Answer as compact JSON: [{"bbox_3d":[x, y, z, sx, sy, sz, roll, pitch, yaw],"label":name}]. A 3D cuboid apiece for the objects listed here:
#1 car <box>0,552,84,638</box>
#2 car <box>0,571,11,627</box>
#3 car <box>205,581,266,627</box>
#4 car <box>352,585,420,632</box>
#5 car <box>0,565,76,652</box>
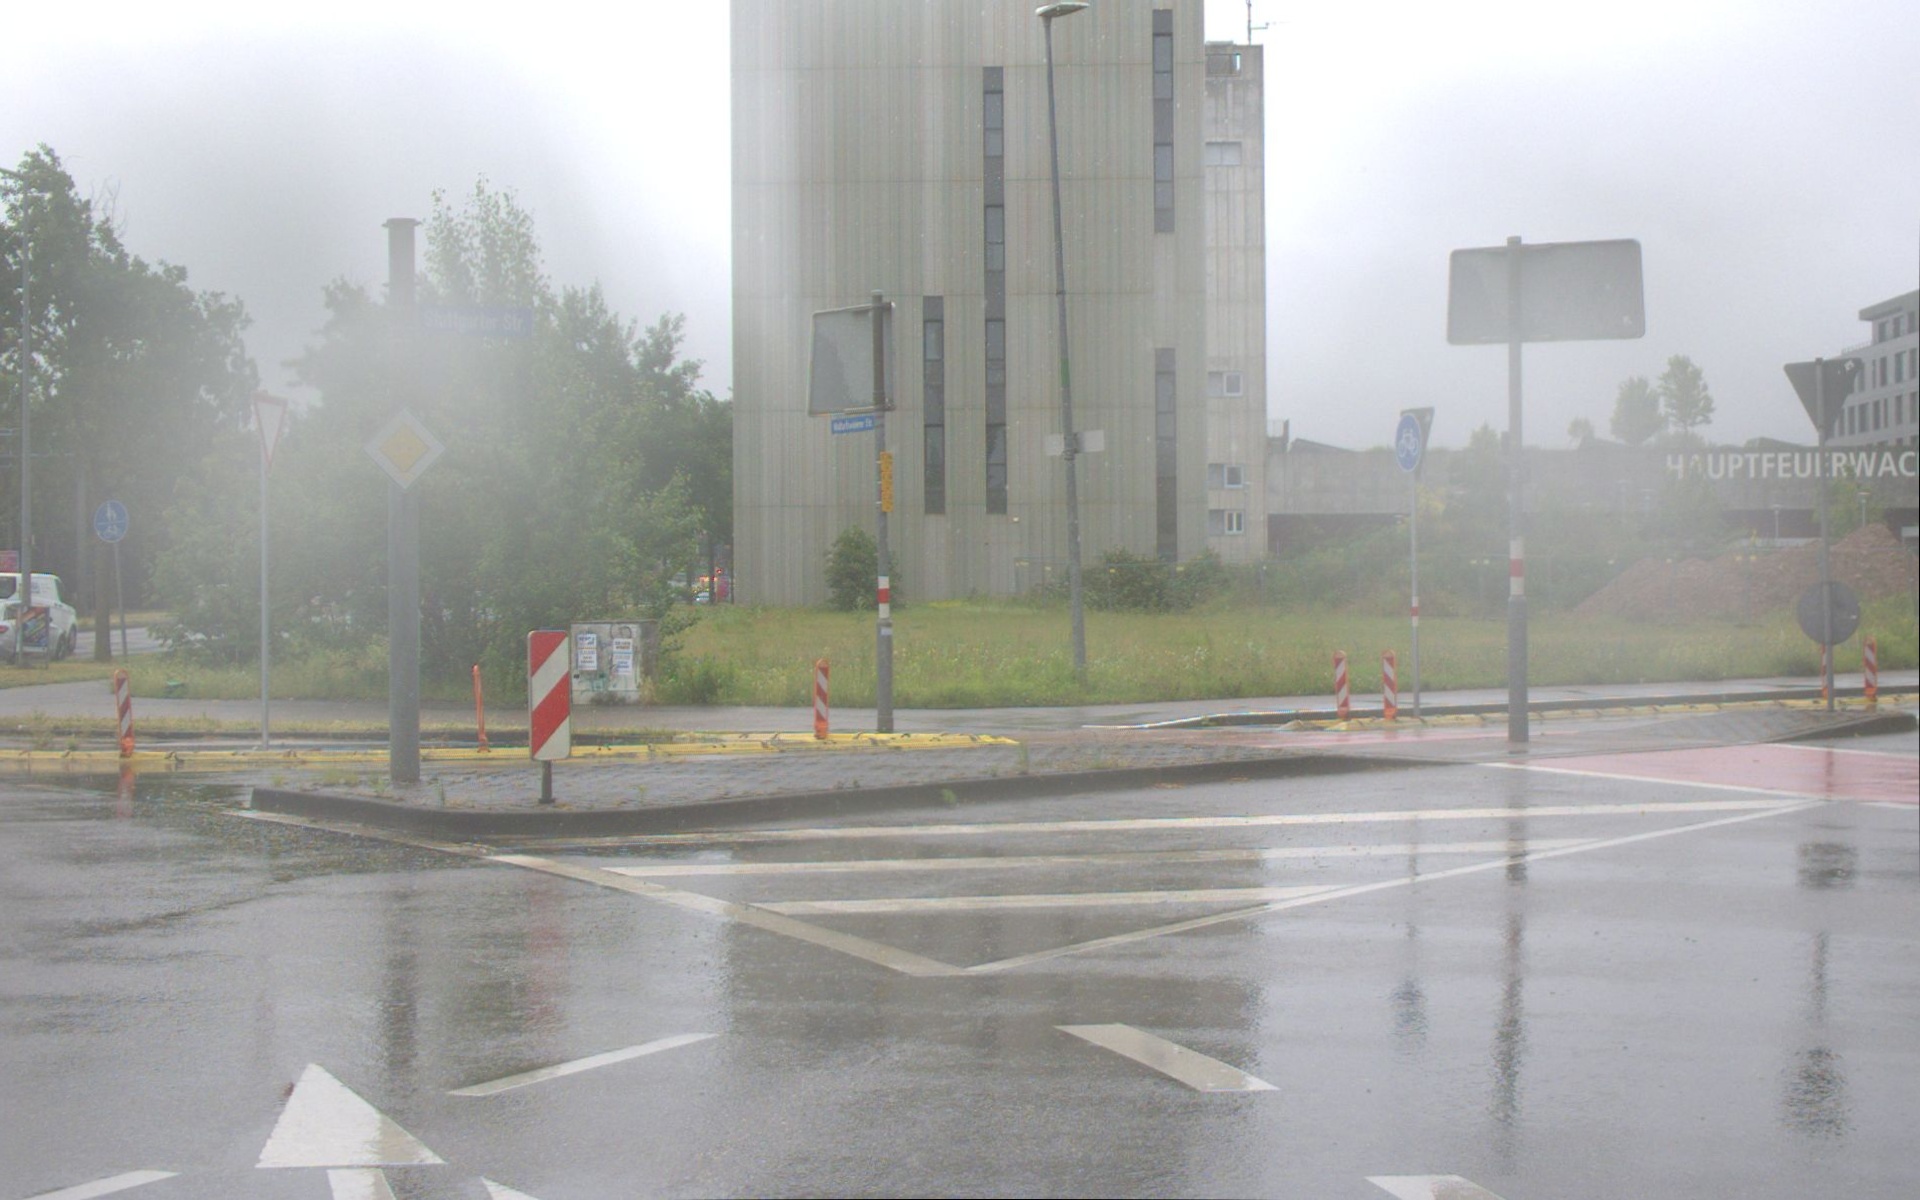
[{"bbox_3d":[-23.232,-0.108,84.634,1.784,2.029,3.998,1,-1,8],"label":"car"},{"bbox_3d":[-26.491,-0.065,90.639,1.689,1.487,3.250,1,-1,7],"label":"car"},{"bbox_3d":[-24.289,0.119,115.302,1.688,1.487,3.252,0,1,-6],"label":"car"},{"bbox_3d":[-18.926,0.261,113.369,1.689,1.487,3.251,0,1,0],"label":"car"},{"bbox_3d":[-20.759,0.152,74.247,1.783,1.804,4.837,0,1,4],"label":"car"}]
